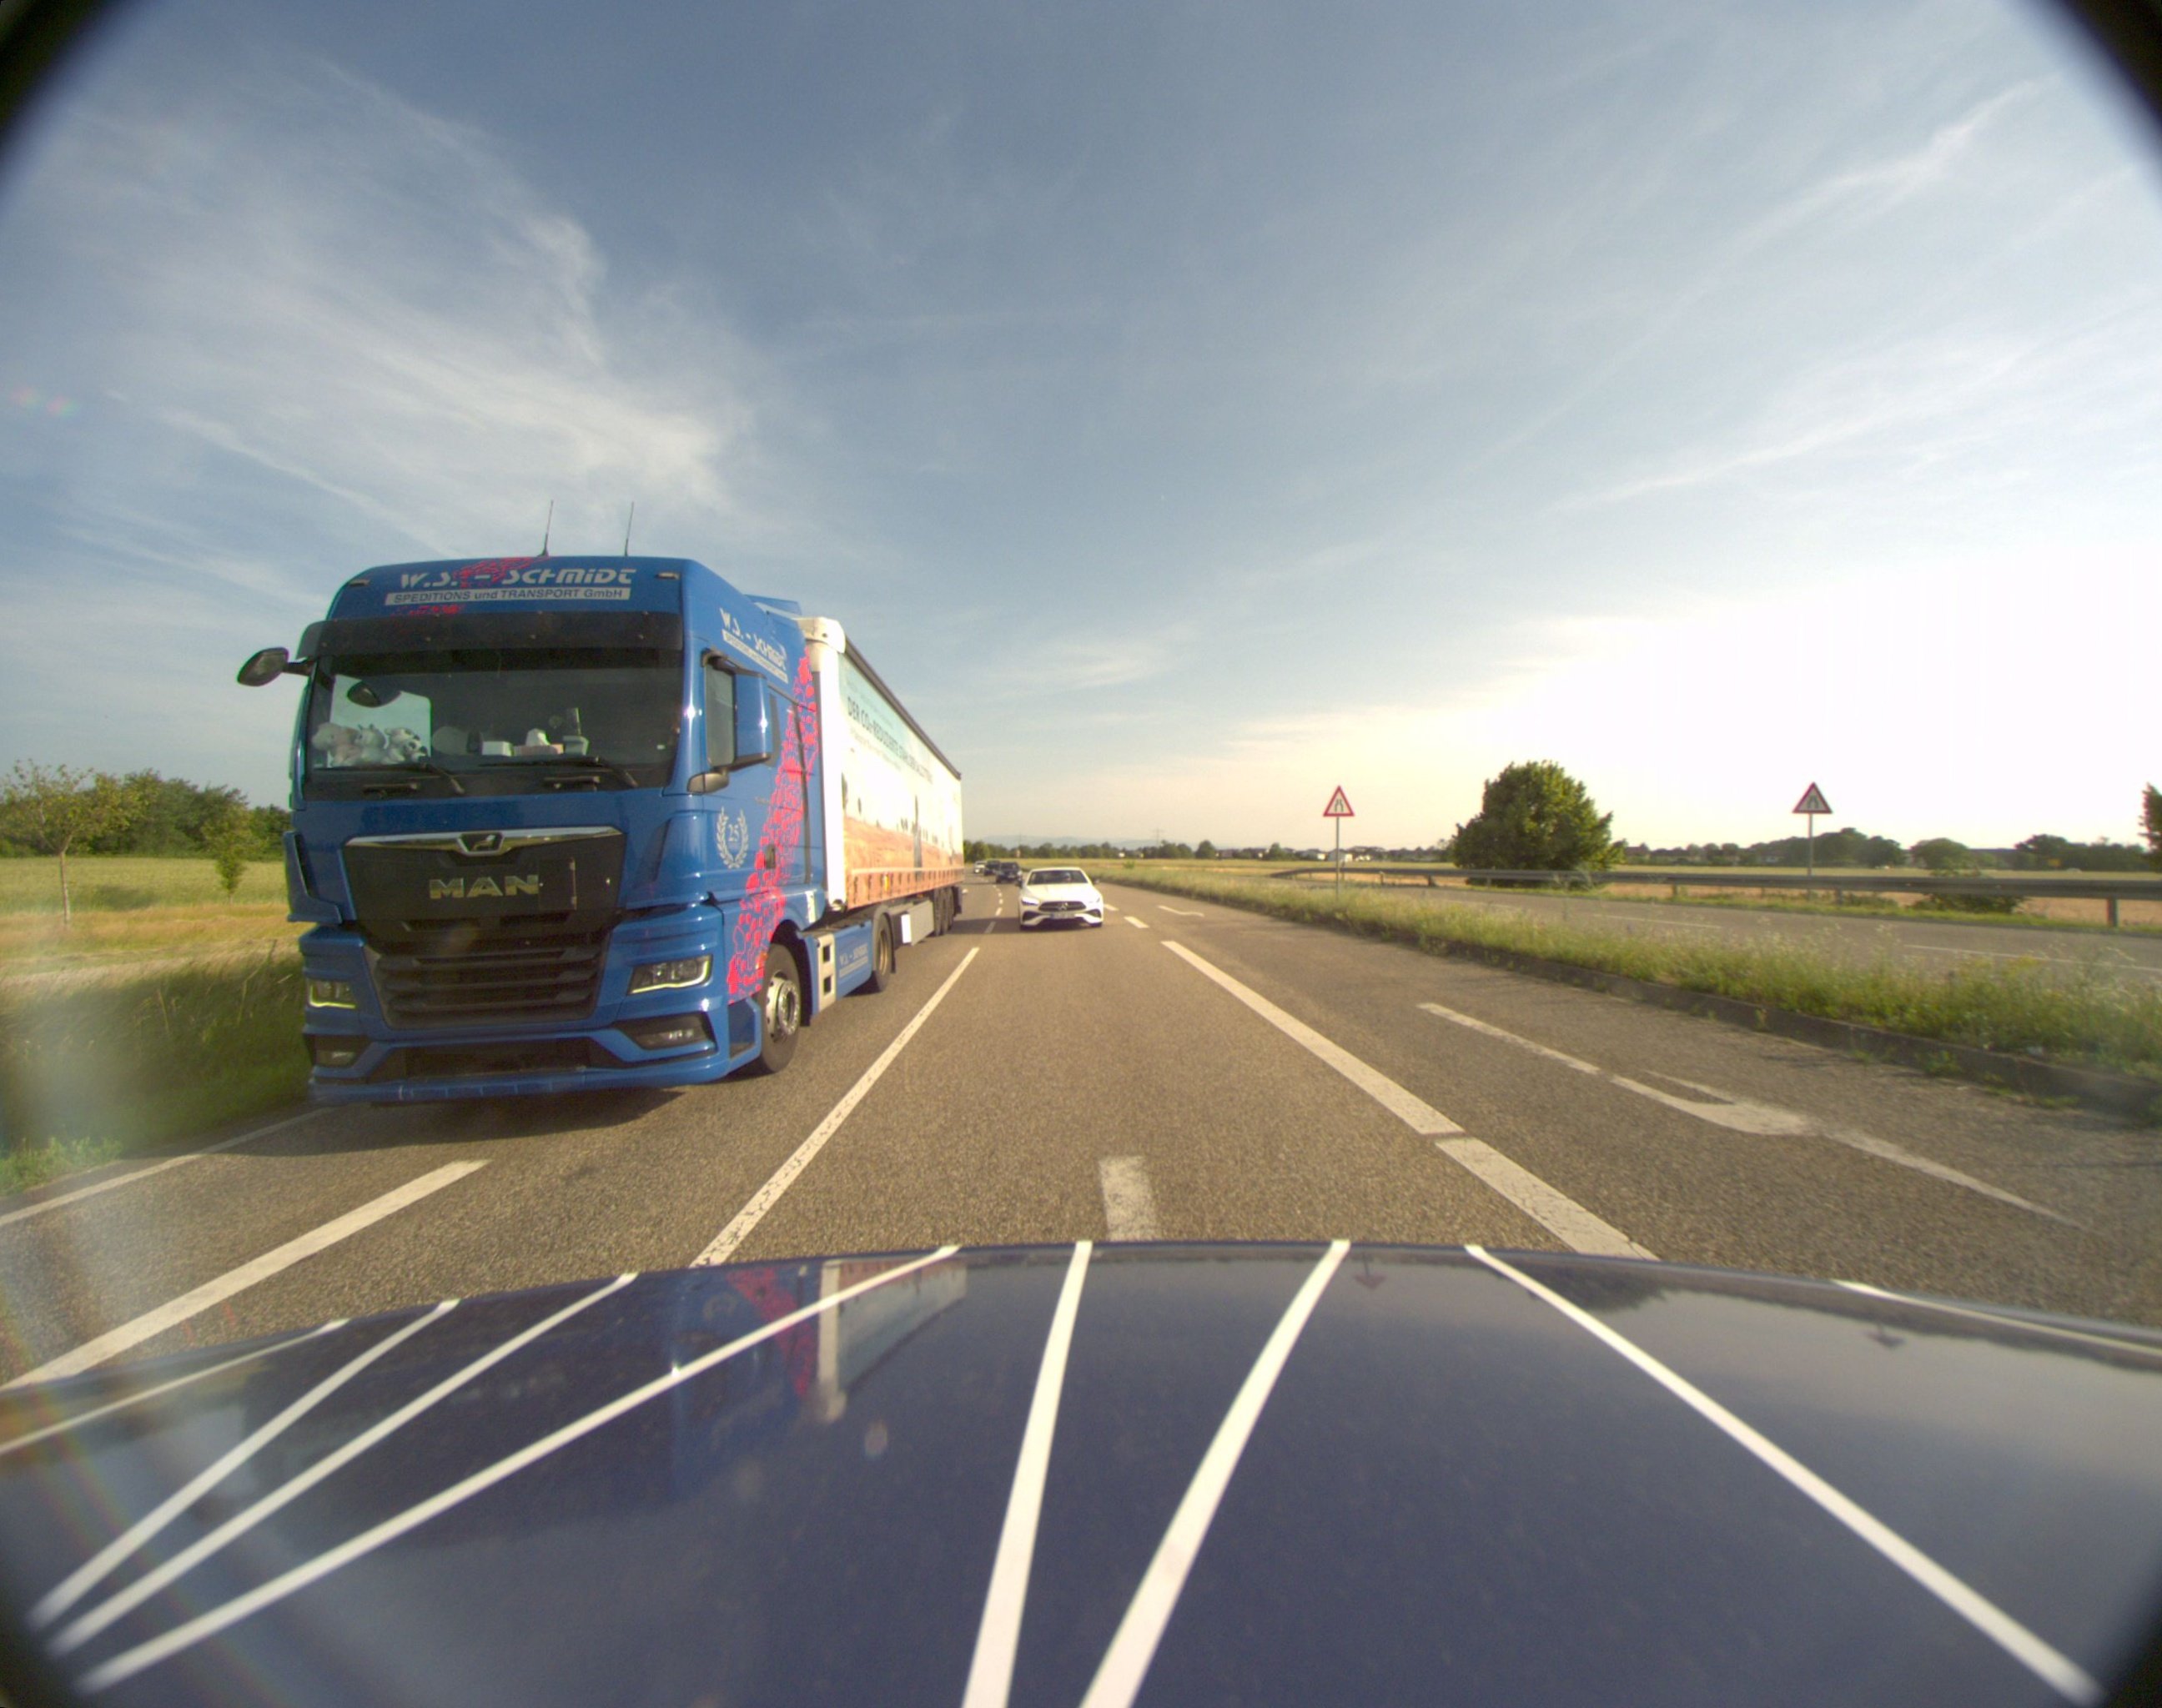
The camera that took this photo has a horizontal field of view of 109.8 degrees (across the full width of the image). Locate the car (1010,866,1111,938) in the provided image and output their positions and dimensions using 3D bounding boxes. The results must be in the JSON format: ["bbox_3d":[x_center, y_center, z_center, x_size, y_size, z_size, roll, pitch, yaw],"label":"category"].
[{"bbox_3d":[-0.608,1.055,18.101,1.942,1.389,3.915,-2,0,-8],"label":"car"}]

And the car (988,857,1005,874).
[{"bbox_3d":[-8.404,1.134,75.595,1.558,1.550,3.047,-1,0,-8],"label":"car"}]

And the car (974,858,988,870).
[{"bbox_3d":[-11.869,1.194,90.364,1.558,1.392,4.032,-1,0,-8],"label":"car"}]

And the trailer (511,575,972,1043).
[{"bbox_3d":[-4.342,-0.504,14.259,3.290,4.654,13.142,-2,0,-3],"label":"trailer"}]

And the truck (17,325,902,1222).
[{"bbox_3d":[-3.889,-0.458,6.888,3.309,4.630,5.730,-2,1,-3],"label":"truck"}]

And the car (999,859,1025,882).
[{"bbox_3d":[-4.802,1.105,52.648,1.585,1.496,3.658,-1,0,-8],"label":"car"}]
